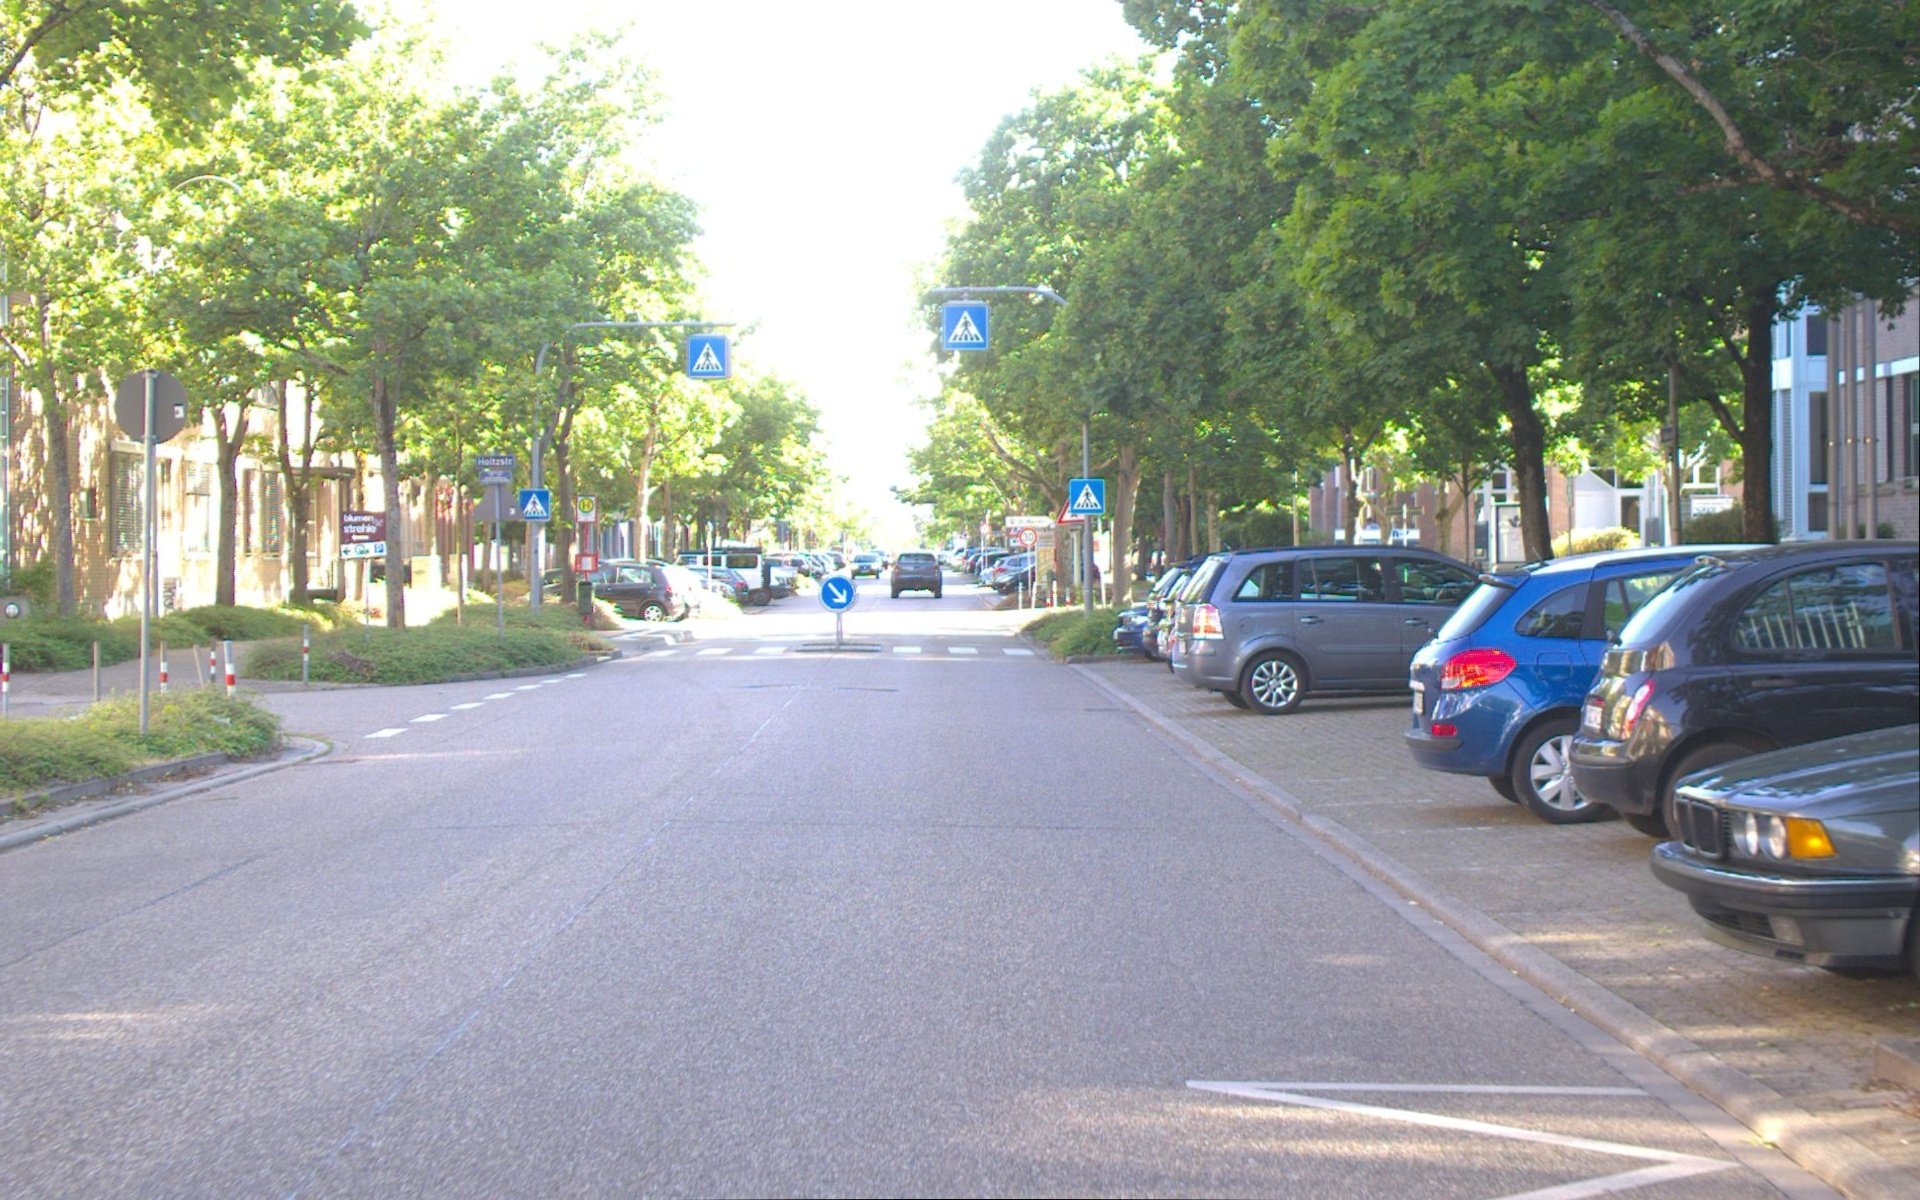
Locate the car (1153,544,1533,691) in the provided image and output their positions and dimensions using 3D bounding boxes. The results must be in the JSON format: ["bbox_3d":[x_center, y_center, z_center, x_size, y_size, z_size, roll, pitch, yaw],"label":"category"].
[{"bbox_3d":[4.508,0.193,40.876,4.190,1.531,1.813,-3,1,-3],"label":"car"}]

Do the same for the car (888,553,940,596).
[{"bbox_3d":[-1.827,-1.005,136.006,1.993,1.634,4.000,1,1,-1],"label":"car"}]

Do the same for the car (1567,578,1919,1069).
[{"bbox_3d":[4.662,0.590,11.451,4.824,1.415,2.032,-3,1,-2],"label":"car"}]

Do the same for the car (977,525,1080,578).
[{"bbox_3d":[2.728,-1.952,138.300,3.986,2.007,2.000,-1,1,-2],"label":"car"}]

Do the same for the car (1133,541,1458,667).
[{"bbox_3d":[4.604,0.040,47.588,4.190,1.531,1.813,-3,1,-3],"label":"car"}]

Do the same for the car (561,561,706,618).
[{"bbox_3d":[-8.855,-0.285,93.129,3.848,1.468,1.813,1,0,-6],"label":"car"}]

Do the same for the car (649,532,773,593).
[{"bbox_3d":[-8.603,-1.289,118.982,3.987,2.007,2.000,-1,1,4],"label":"car"}]

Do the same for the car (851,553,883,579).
[{"bbox_3d":[-5.688,-2.068,210.646,1.813,1.519,4.000,-1,1,0],"label":"car"}]

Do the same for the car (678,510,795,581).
[{"bbox_3d":[-8.053,-1.970,124.035,3.987,2.532,1.862,0,1,4],"label":"car"}]

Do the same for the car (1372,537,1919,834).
[{"bbox_3d":[4.486,0.442,19.877,3.949,1.509,1.813,-2,1,1],"label":"car"}]

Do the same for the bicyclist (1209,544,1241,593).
[{"bbox_3d":[6.692,-0.790,86.792,0.698,1.210,0.945,-1,1,10],"label":"bicyclist"}]

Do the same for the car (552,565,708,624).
[{"bbox_3d":[-8.532,-0.149,88.679,3.847,1.468,1.813,1,0,-10],"label":"car"}]

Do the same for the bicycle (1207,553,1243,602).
[{"bbox_3d":[6.705,-0.573,86.820,0.684,1.210,1.975,-1,1,10],"label":"bicycle"}]

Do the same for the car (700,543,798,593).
[{"bbox_3d":[-8.803,-1.340,143.409,3.986,2.007,2.000,-1,1,-2],"label":"car"}]

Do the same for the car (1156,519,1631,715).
[{"bbox_3d":[4.239,0.155,34.081,4.350,1.698,1.813,-3,1,-3],"label":"car"}]

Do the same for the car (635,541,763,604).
[{"bbox_3d":[-8.780,-0.939,115.848,3.987,2.007,2.000,-1,1,4],"label":"car"}]

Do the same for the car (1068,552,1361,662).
[{"bbox_3d":[3.837,0.095,52.272,4.190,1.468,1.813,-3,1,-3],"label":"car"}]

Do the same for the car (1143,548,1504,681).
[{"bbox_3d":[4.505,0.161,42.988,4.190,1.443,1.813,-3,1,-3],"label":"car"}]

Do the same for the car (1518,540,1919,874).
[{"bbox_3d":[4.811,0.463,17.317,3.641,1.509,1.813,-3,1,0],"label":"car"}]
